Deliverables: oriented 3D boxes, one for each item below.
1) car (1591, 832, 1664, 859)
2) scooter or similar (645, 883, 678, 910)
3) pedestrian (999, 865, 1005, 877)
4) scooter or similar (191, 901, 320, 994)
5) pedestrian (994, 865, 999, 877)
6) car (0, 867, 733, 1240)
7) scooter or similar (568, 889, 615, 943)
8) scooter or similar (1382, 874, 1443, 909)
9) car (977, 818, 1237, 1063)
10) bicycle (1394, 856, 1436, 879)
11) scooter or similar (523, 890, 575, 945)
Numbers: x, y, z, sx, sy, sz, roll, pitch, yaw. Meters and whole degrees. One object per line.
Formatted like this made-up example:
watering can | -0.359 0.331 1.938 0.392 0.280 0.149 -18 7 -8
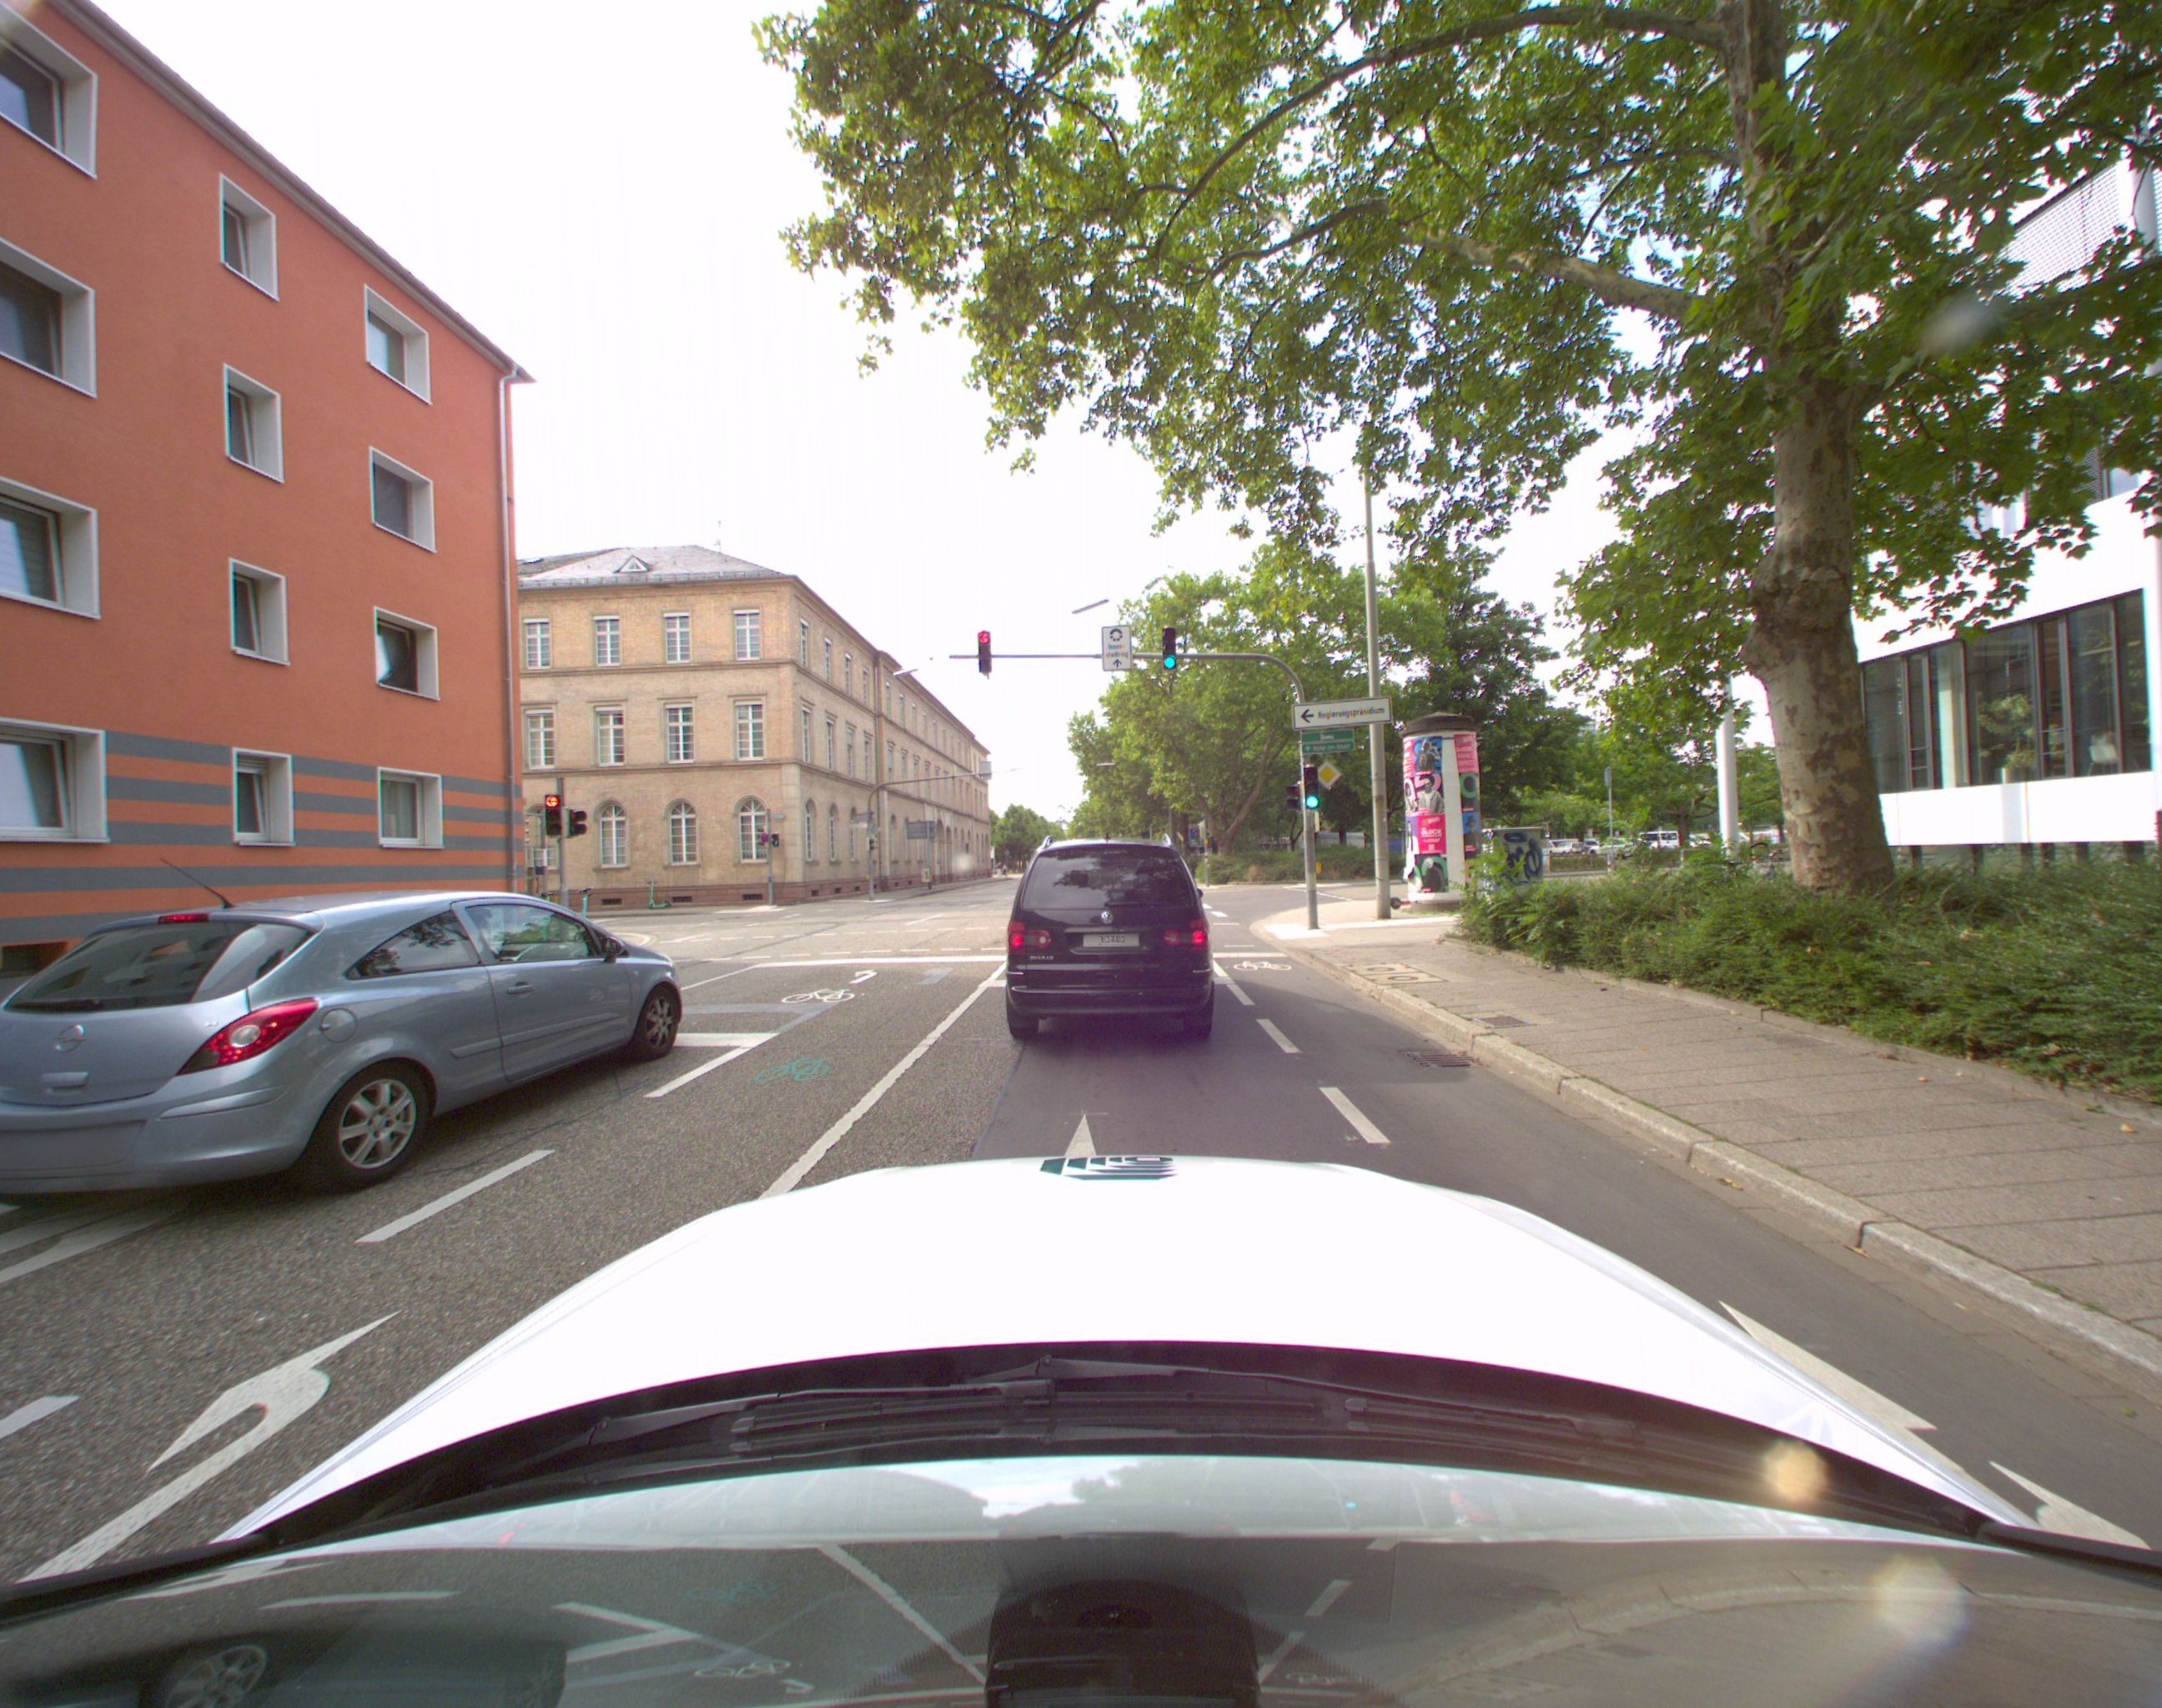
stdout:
car | 35.469 -0.510 53.001 1.955 1.651 4.152 -2 0 0
scooter or similar | -17.186 1.753 33.339 1.134 1.049 0.379 -2 -2 1
pedestrian | -9.443 2.016 97.251 0.555 1.435 0.579 -2 -1 1
scooter or similar | -11.695 1.291 11.593 0.376 1.184 1.390 -2 -2 2
pedestrian | -10.081 2.030 97.124 0.555 1.435 0.579 -2 -1 1
car | -4.200 0.877 5.490 1.706 1.421 4.254 -4 0 1
scooter or similar | -11.013 1.377 18.341 0.377 1.144 1.141 -2 -2 -1
scooter or similar | 7.562 0.862 18.590 1.214 0.736 0.369 -2 -1 1
car | 0.233 0.644 8.312 1.867 1.745 4.574 -2 0 1
bicycle | 13.694 0.559 33.375 1.465 0.885 0.555 -2 -1 1
scooter or similar | -11.622 1.367 17.813 0.377 1.147 1.141 -2 -2 -1
